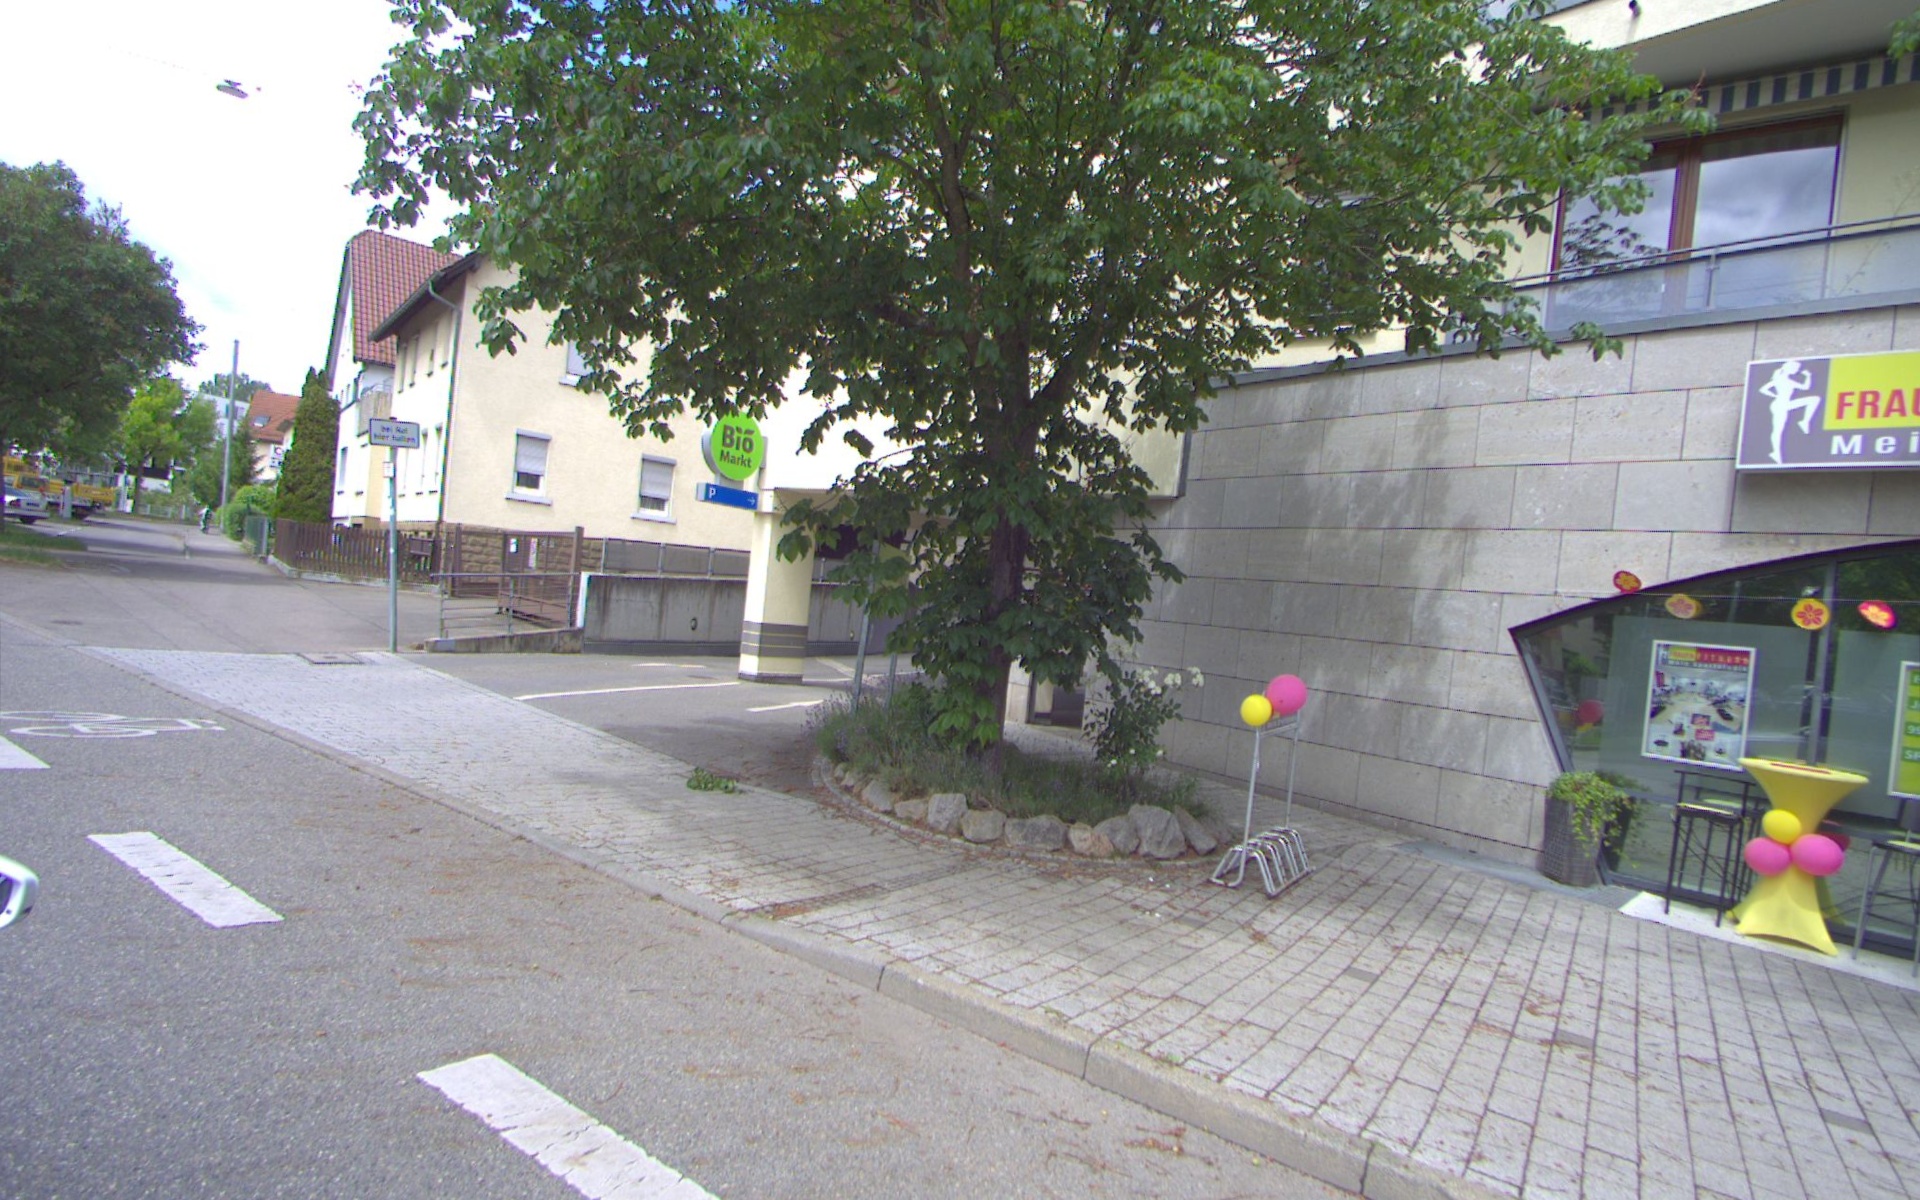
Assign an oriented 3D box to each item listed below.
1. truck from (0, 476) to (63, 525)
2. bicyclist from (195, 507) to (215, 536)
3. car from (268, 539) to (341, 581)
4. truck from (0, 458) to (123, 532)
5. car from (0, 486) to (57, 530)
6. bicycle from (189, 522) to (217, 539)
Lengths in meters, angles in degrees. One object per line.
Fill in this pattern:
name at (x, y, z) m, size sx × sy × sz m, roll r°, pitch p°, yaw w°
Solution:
truck at (-49.451, -5.342, 51.035) m, size 5.578 × 2.036 × 2.000 m, roll 8°, pitch -2°, yaw -6°
bicyclist at (-43.482, -4.525, 57.921) m, size 0.557 × 1.577 × 0.590 m, roll 6°, pitch -2°, yaw 31°
car at (-22.609, -1.399, 34.642) m, size 1.458 × 1.137 × 3.827 m, roll 9°, pitch -3°, yaw -42°
truck at (-49.521, -5.725, 53.922) m, size 6.585 × 3.042 × 2.771 m, roll 8°, pitch -2°, yaw -2°
car at (-39.262, -3.916, 40.236) m, size 4.603 × 1.469 × 1.768 m, roll 7°, pitch 0°, yaw 0°
bicycle at (-43.620, -4.005, 57.960) m, size 1.725 × 0.821 × 0.595 m, roll 6°, pitch -2°, yaw 31°
